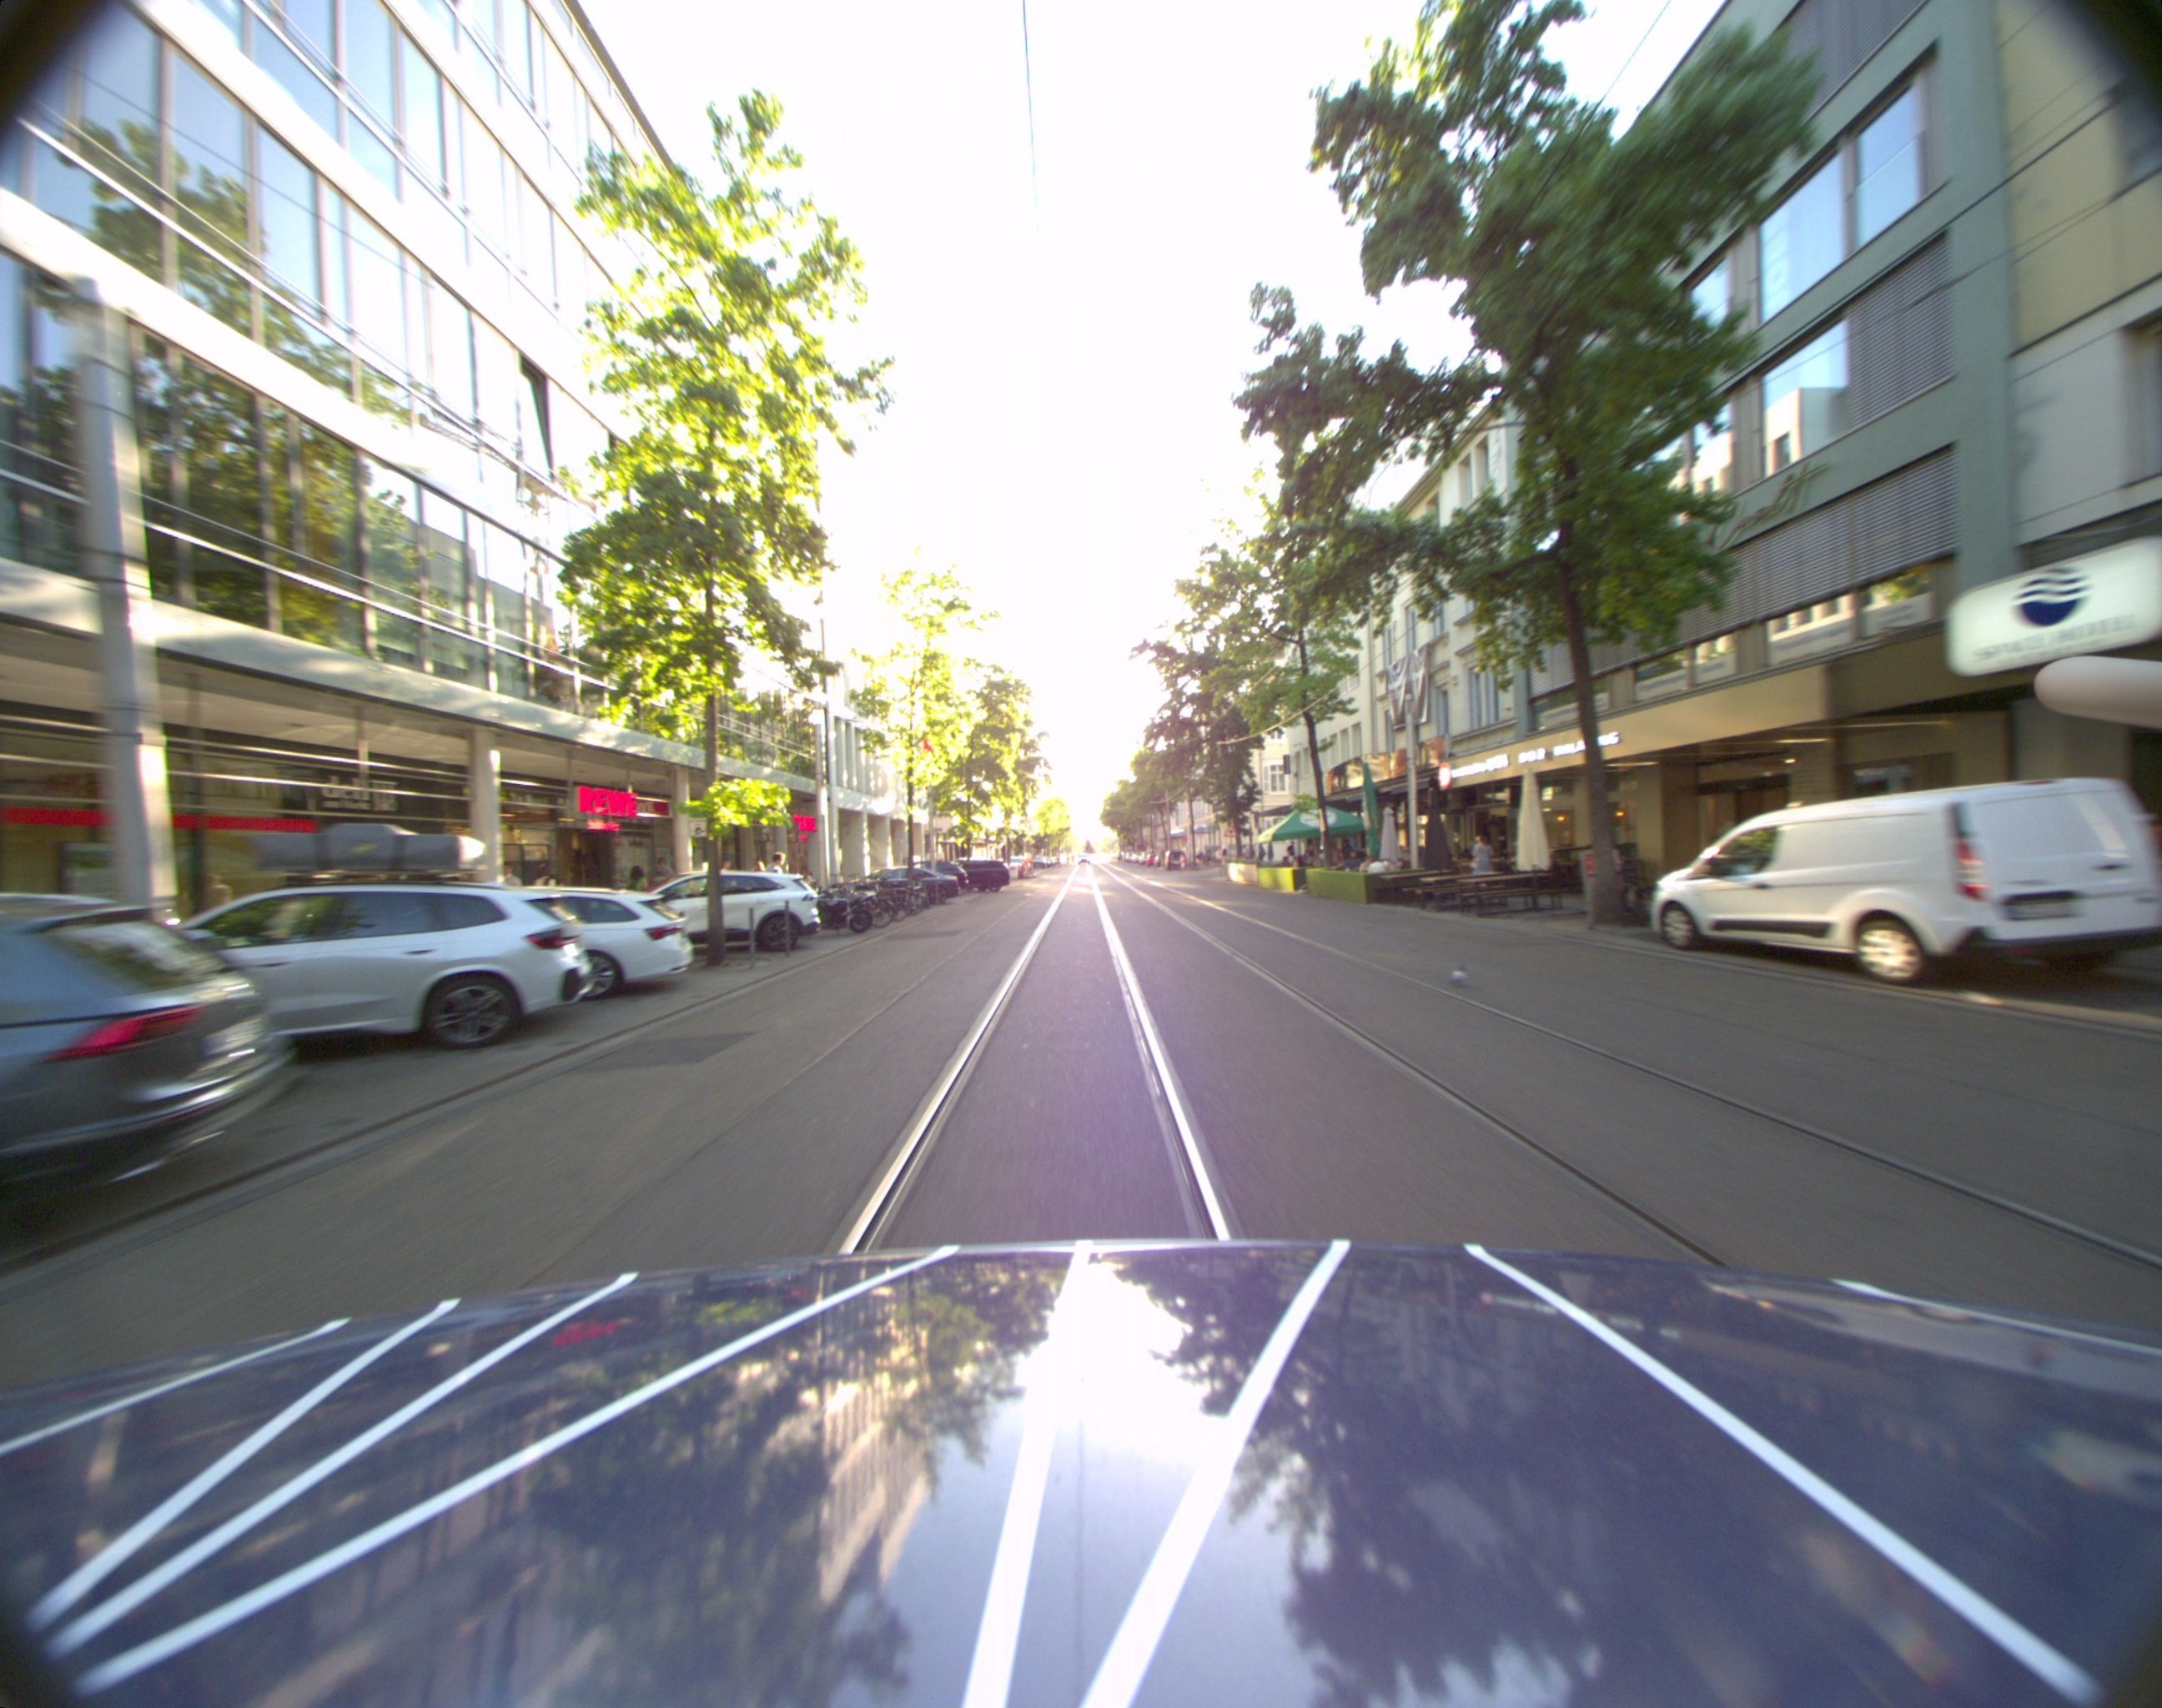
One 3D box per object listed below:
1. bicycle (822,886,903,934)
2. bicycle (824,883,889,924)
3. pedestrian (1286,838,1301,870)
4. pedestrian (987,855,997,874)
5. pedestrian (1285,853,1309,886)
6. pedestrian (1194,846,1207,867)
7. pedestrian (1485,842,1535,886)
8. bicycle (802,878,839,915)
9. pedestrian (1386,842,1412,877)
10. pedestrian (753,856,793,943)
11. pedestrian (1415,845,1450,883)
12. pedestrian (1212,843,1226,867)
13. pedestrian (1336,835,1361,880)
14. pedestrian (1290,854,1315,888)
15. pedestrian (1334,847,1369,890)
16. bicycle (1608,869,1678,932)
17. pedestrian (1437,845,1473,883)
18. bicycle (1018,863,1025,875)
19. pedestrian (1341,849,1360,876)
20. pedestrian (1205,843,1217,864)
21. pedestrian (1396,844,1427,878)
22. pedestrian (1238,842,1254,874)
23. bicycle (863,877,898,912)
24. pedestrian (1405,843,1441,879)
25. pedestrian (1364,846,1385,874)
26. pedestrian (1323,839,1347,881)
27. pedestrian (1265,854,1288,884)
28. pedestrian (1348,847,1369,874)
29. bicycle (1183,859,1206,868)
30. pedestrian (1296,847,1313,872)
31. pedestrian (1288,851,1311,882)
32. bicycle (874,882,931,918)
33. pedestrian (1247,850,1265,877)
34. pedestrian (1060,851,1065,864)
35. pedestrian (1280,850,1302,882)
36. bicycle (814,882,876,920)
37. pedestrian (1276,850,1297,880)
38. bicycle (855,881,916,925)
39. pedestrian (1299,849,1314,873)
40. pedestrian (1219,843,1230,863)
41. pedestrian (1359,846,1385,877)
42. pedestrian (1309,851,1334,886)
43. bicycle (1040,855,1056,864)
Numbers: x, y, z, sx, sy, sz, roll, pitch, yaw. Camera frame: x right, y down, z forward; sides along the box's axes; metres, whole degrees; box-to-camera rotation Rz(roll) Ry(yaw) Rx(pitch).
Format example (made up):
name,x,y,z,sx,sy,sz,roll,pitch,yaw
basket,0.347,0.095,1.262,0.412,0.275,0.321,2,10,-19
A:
name,x,y,z,sx,sy,sz,roll,pitch,yaw
bicycle,-5.579,1.402,19.454,1.899,1.113,0.666,0,1,-28
bicycle,-6.434,1.396,21.758,1.697,1.099,0.631,1,1,-26
pedestrian,12.215,-0.018,43.726,0.685,1.805,0.765,-4,1,16
pedestrian,-8.649,1.025,73.827,0.835,1.886,0.918,-1,1,3
pedestrian,8.445,0.600,29.727,0.620,1.238,0.697,-5,1,0
pedestrian,10.478,0.203,66.847,0.867,1.771,0.884,-5,1,0
pedestrian,12.411,0.278,22.013,0.755,1.181,1.065,-5,1,0
bicycle,-8.606,1.379,25.072,0.628,1.123,1.883,0,0,-36
pedestrian,12.541,0.226,30.012,0.620,1.302,0.697,-5,1,0
pedestrian,-6.887,1.003,17.015,0.584,1.908,0.663,0,1,2
pedestrian,11.989,0.332,25.961,0.738,1.207,0.788,-5,1,0
pedestrian,10.756,0.102,59.284,0.776,1.782,0.984,-5,1,2
pedestrian,10.922,0.146,30.996,0.679,1.746,0.697,-4,1,2
pedestrian,8.370,0.638,28.707,0.620,1.238,0.697,-5,1,0
pedestrian,9.007,0.485,25.312,0.756,1.335,0.872,-5,1,0
bicycle,9.575,0.771,12.912,0.834,0.860,1.864,-4,0,39
pedestrian,12.139,0.313,24.674,0.702,1.161,0.788,-5,1,0
bicycle,-4.916,1.248,62.840,0.494,0.976,1.930,-2,0,-1
pedestrian,12.262,0.382,34.581,0.553,1.155,0.687,-4,1,1
pedestrian,11.445,-0.029,66.832,0.721,1.802,0.876,-5,1,0
pedestrian,12.604,0.266,29.008,0.738,1.224,0.788,-5,1,0
pedestrian,9.538,0.235,43.845,0.758,1.781,0.687,-4,1,9
bicycle,-6.923,1.365,26.217,0.553,1.101,1.845,0,0,-35
pedestrian,12.508,0.264,27.799,0.779,1.230,0.945,-5,1,0
pedestrian,12.912,0.255,33.446,0.603,1.151,0.687,-4,1,1
pedestrian,10.316,0.234,30.886,0.620,1.661,0.697,-4,1,0
pedestrian,8.398,0.635,32.659,0.709,1.252,0.772,-4,1,3
pedestrian,12.223,0.283,33.510,0.603,1.167,0.687,-4,1,1
bicycle,9.263,0.769,62.055,1.799,0.605,1.282,-4,0,4
pedestrian,12.266,0.297,41.732,0.628,1.274,0.727,-4,1,1
pedestrian,9.388,0.529,32.626,0.709,1.252,0.869,-4,1,3
bicycle,-5.576,1.409,23.716,1.566,1.082,0.867,1,-1,-30
pedestrian,9.144,0.488,39.714,0.691,1.378,0.807,-4,1,1
pedestrian,-2.736,0.527,113.051,0.705,1.858,0.792,-3,1,-2
pedestrian,9.379,0.523,33.945,0.709,1.339,0.781,-4,1,3
bicycle,-7.094,1.394,22.859,1.677,1.068,0.731,1,-1,-30
pedestrian,9.417,0.493,34.821,0.691,1.304,0.807,-4,1,1
bicycle,-5.511,1.357,21.510,0.480,1.157,1.698,2,1,40
pedestrian,12.127,0.363,40.856,0.553,1.228,0.687,-4,1,1
pedestrian,12.113,-0.044,63.959,0.709,1.646,0.967,-2,0,2
pedestrian,11.948,0.305,31.182,0.671,1.235,0.799,-4,1,0
pedestrian,9.111,0.540,28.767,0.620,1.238,0.697,-5,1,0
bicycle,-5.126,0.861,118.181,2.325,1.181,0.751,-2,1,2
